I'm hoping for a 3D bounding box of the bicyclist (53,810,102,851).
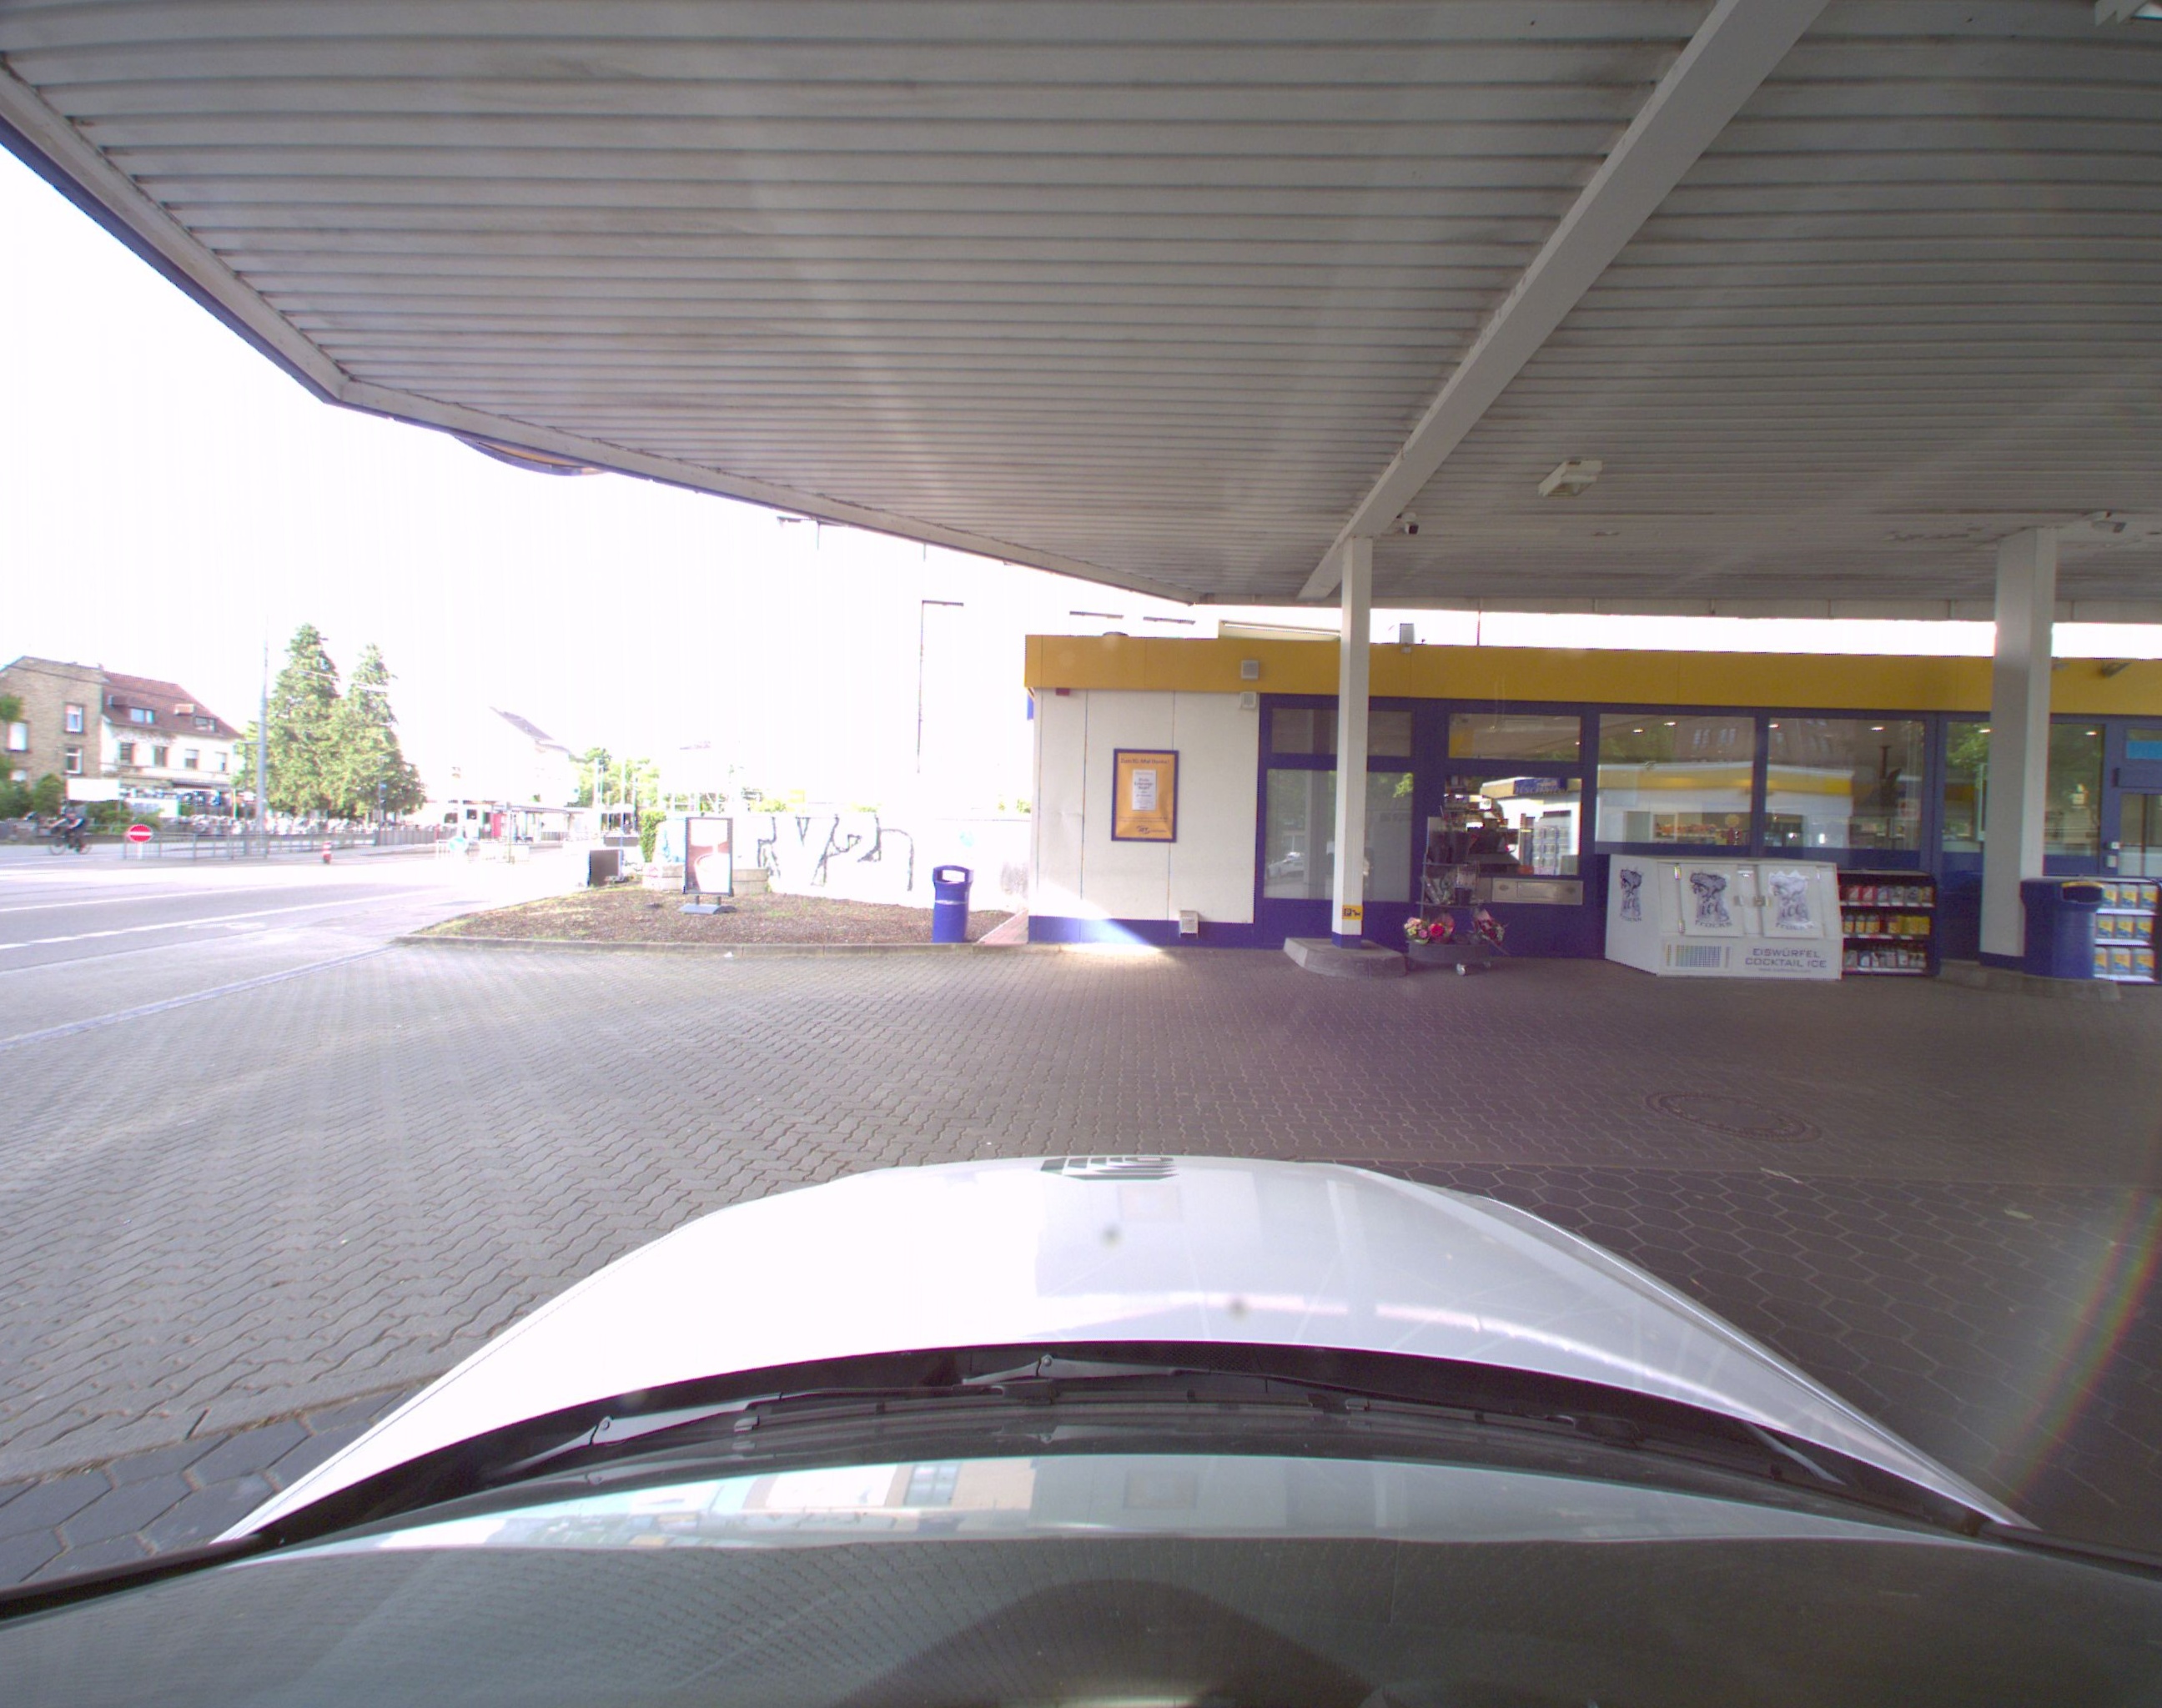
[{"bbox_3d":[-38.848,-0.906,31.535,0.680,1.534,1.079,0,1,-18],"label":"bicyclist"}]

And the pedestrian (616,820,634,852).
[{"bbox_3d":[-29.252,-1.154,52.292,0.807,2.014,0.846,0,-1,-14],"label":"pedestrian"}]

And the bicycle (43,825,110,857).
[{"bbox_3d":[-38.859,-0.513,31.535,0.680,1.222,1.908,0,1,-18],"label":"bicycle"}]
